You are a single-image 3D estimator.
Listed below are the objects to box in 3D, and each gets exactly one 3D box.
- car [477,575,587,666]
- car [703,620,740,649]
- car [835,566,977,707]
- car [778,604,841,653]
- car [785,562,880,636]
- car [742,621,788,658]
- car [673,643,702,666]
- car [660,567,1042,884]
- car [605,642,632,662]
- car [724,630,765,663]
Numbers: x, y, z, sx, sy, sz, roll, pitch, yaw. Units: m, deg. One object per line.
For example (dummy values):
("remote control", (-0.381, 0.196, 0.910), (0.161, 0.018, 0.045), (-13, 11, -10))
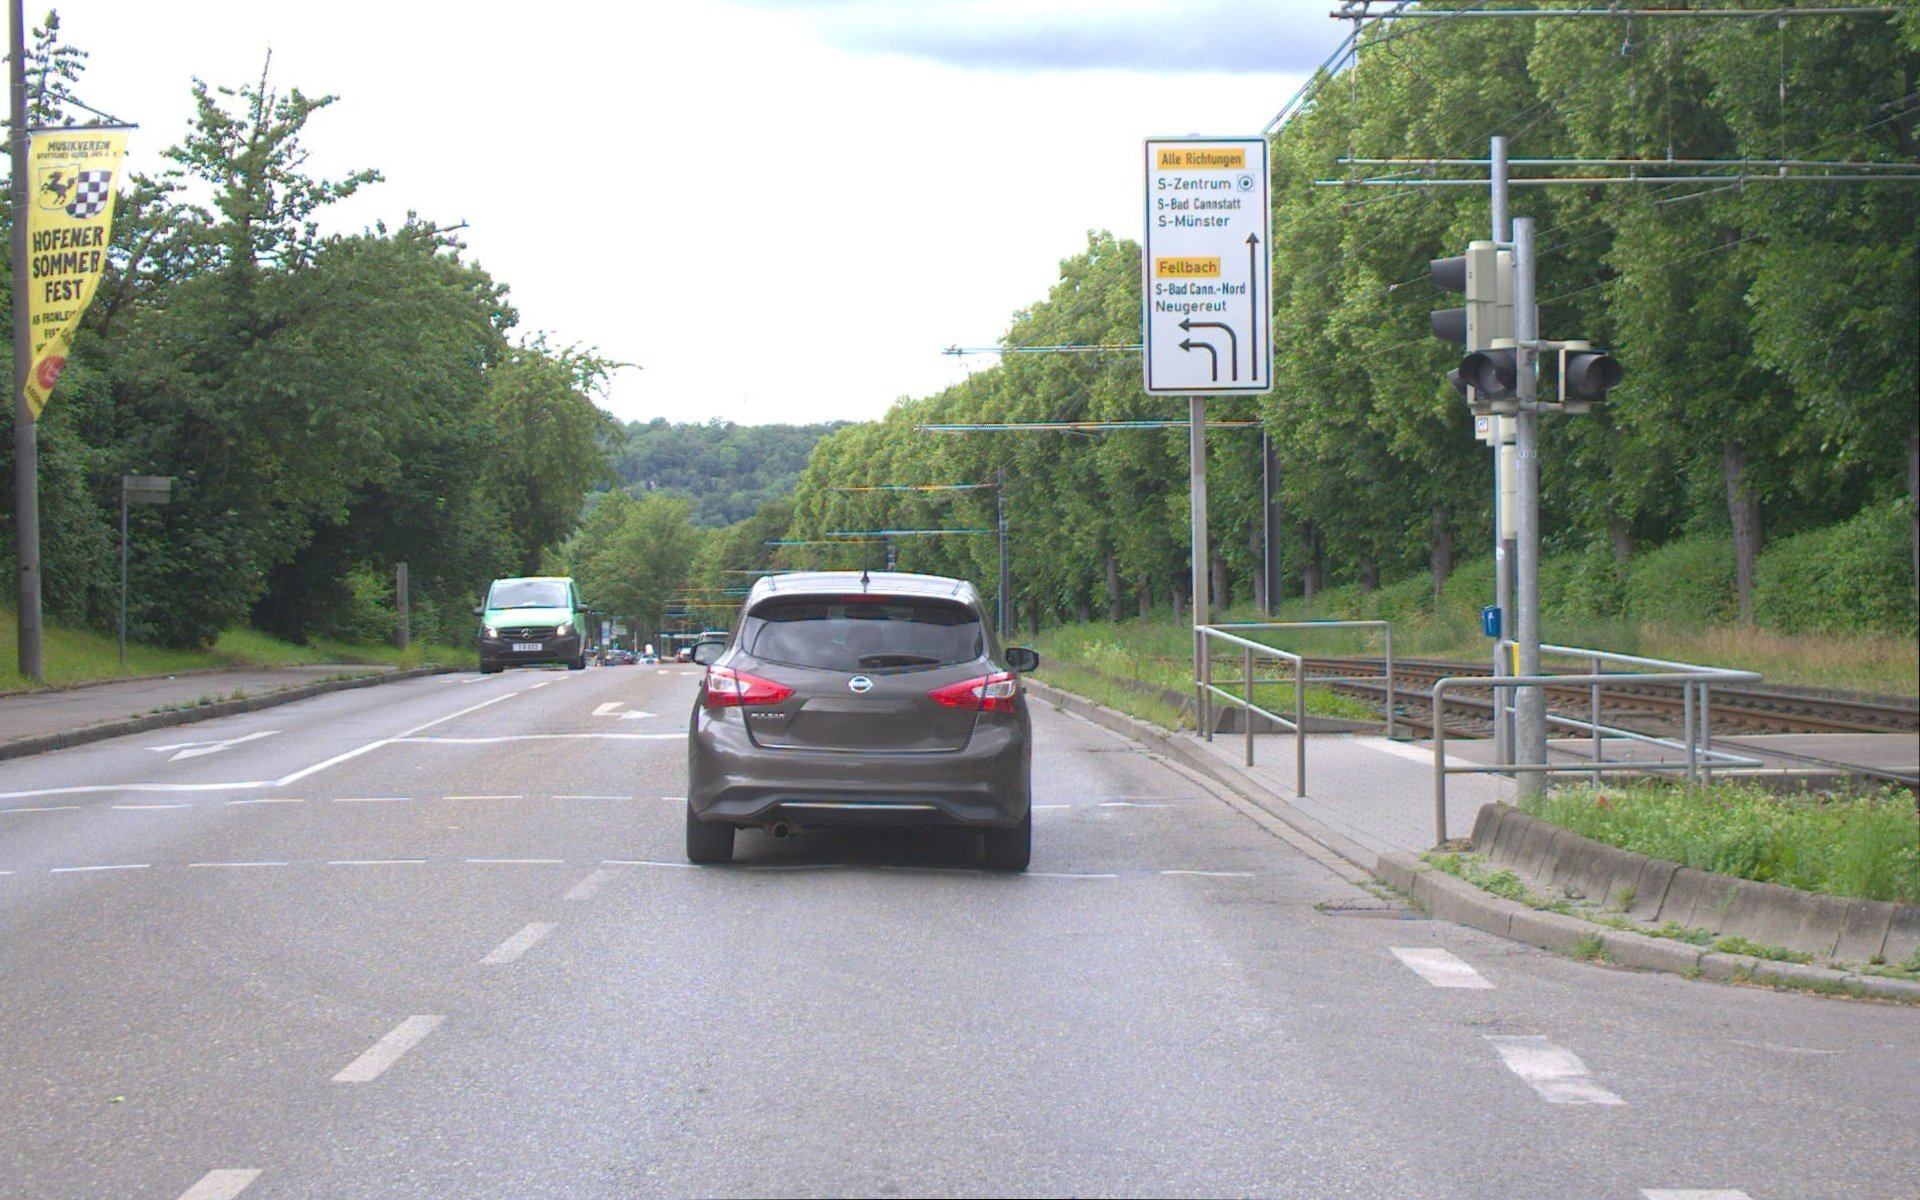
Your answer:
("car", (-8.284, 0.374, 66.770), (1.785, 1.690, 4.000), (0, 0, -2))
("car", (-12.057, 1.742, 174.088), (1.741, 1.305, 4.001), (2, 1, -3))
("car", (-0.617, 0.376, 39.175), (1.538, 1.473, 3.764), (0, 1, -1))
("car", (-4.468, 0.836, 102.628), (1.741, 1.305, 4.000), (2, 1, -1))
("car", (-2.449, -0.045, 66.807), (1.741, 1.305, 4.000), (2, 1, -1))
("car", (-7.751, 1.558, 136.645), (1.741, 1.305, 4.001), (2, 1, -3))
("car", (-17.822, 3.543, 225.145), (1.741, 1.305, 4.001), (2, 1, -3))
("car", (-0.565, 0.618, 19.063), (1.835, 1.514, 4.483), (1, 0, -1))
("car", (-25.890, 3.908, 260.620), (1.741, 1.305, 4.001), (2, 1, -3))
("car", (-9.647, 2.063, 154.028), (1.741, 1.305, 4.001), (2, 1, -3))
